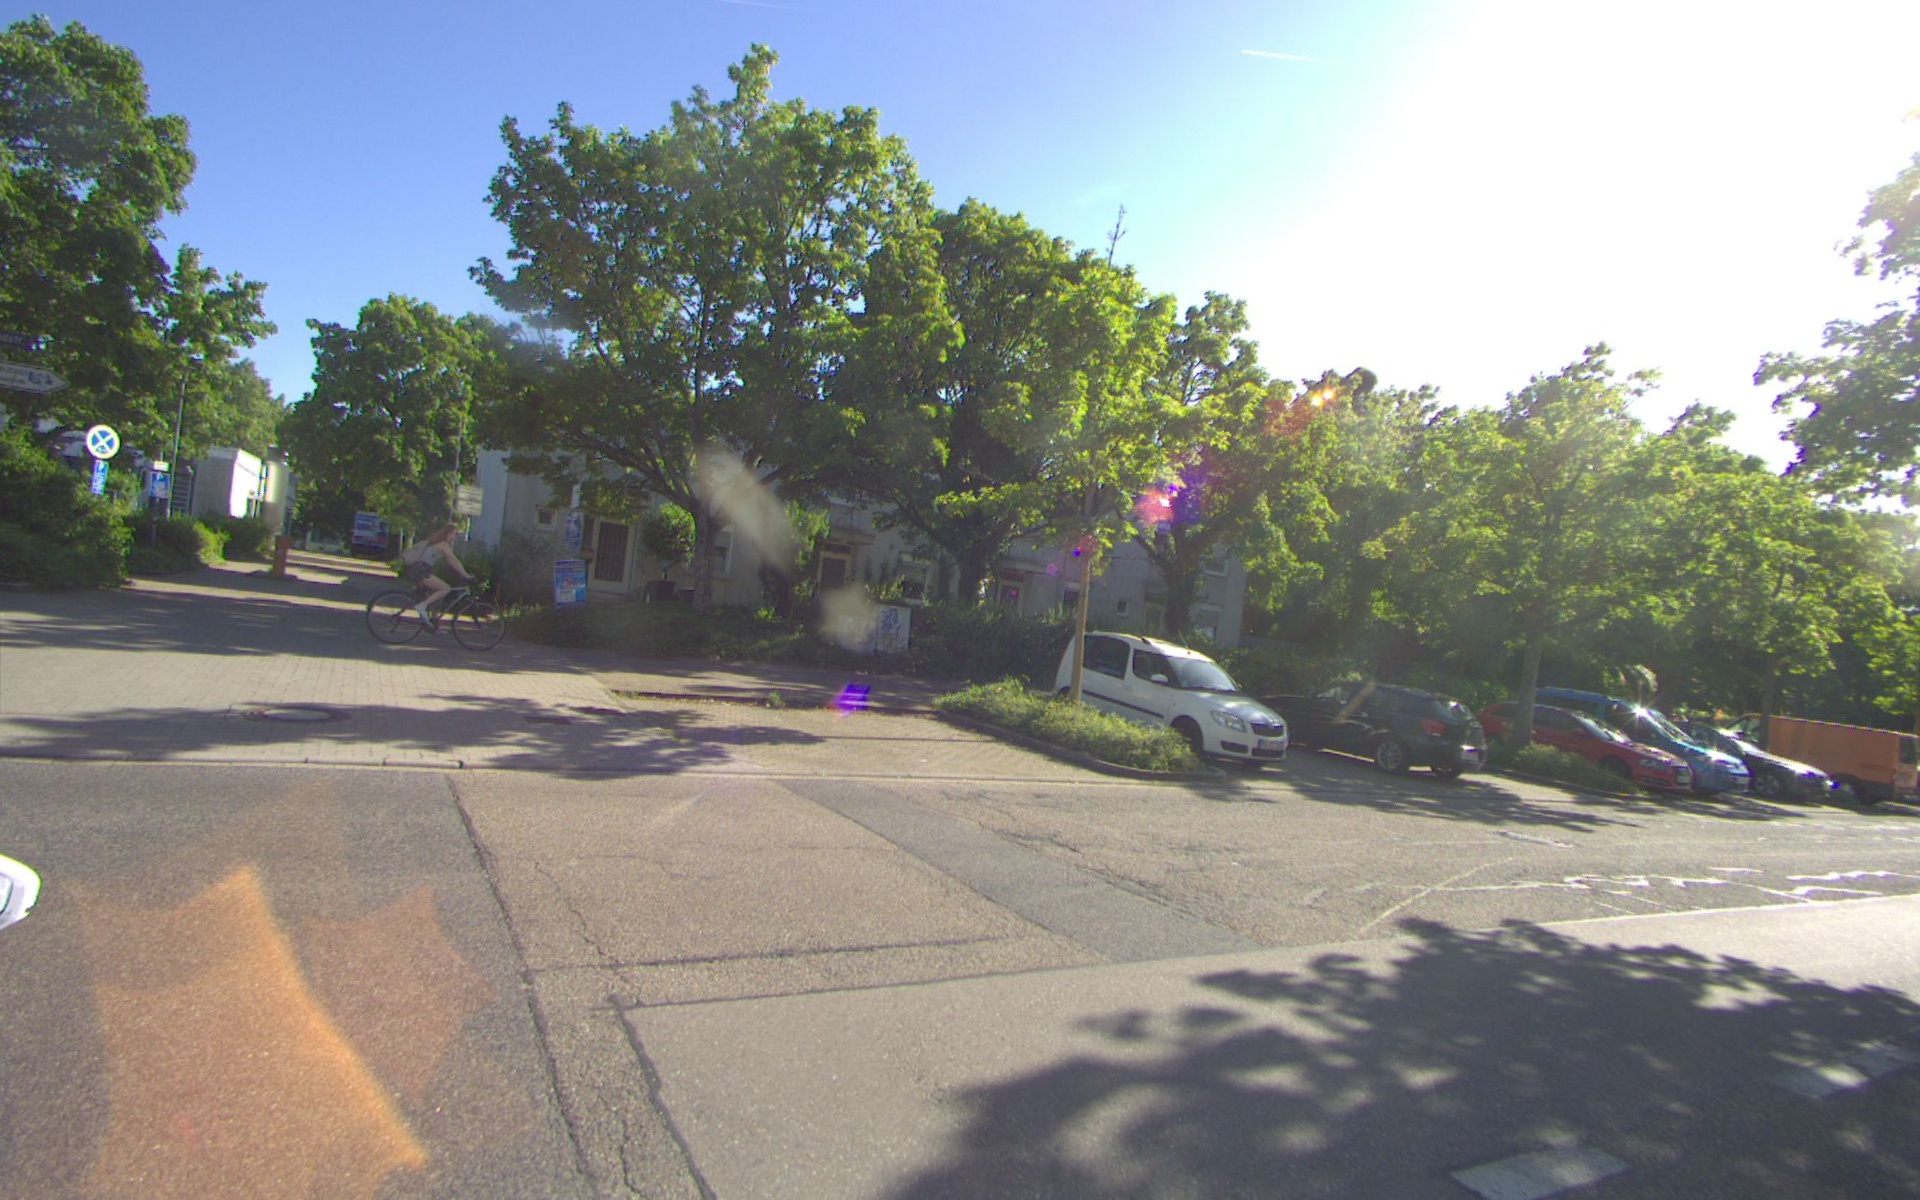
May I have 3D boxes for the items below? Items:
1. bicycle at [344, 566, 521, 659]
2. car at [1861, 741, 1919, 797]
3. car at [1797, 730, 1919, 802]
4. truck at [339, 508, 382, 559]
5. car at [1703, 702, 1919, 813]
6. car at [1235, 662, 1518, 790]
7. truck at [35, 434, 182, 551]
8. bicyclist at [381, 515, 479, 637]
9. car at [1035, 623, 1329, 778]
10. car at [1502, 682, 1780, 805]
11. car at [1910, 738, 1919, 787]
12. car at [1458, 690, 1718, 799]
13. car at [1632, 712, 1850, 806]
[{"bbox_3d":[-7.392,0.186,14.157,2.069,1.007,0.591,9,-1,-33],"label":"bicycle"},{"bbox_3d":[33.815,6.039,34.204,1.954,1.634,4.222,7,1,-33],"label":"car"},{"bbox_3d":[28.831,5.225,30.956,1.954,1.591,4.222,7,1,-33],"label":"car"},{"bbox_3d":[-53.683,-5.906,90.253,2.741,3.915,9.255,8,-1,-30],"label":"truck"},{"bbox_3d":[22.888,4.140,26.933,1.954,2.057,4.222,7,1,-33],"label":"car"},{"bbox_3d":[7.070,2.111,17.504,1.811,1.423,4.131,7,1,-33],"label":"car"},{"bbox_3d":[-33.766,-4.093,40.197,2.782,3.851,6.873,8,-1,-29],"label":"truck"},{"bbox_3d":[-7.423,-0.332,14.091,1.005,1.541,0.591,8,0,-33],"label":"bicyclist"},{"bbox_3d":[3.182,1.426,15.239,1.811,1.618,4.131,7,0,-33],"label":"car"},{"bbox_3d":[14.929,3.101,22.356,1.811,1.794,4.623,7,1,-33],"label":"car"},{"bbox_3d":[37.776,6.352,36.585,1.954,1.775,4.222,7,1,-33],"label":"car"},{"bbox_3d":[12.977,2.959,21.046,1.811,1.423,4.131,7,1,-33],"label":"car"},{"bbox_3d":[19.068,3.864,24.715,1.751,1.492,3.753,7,1,-33],"label":"car"}]
